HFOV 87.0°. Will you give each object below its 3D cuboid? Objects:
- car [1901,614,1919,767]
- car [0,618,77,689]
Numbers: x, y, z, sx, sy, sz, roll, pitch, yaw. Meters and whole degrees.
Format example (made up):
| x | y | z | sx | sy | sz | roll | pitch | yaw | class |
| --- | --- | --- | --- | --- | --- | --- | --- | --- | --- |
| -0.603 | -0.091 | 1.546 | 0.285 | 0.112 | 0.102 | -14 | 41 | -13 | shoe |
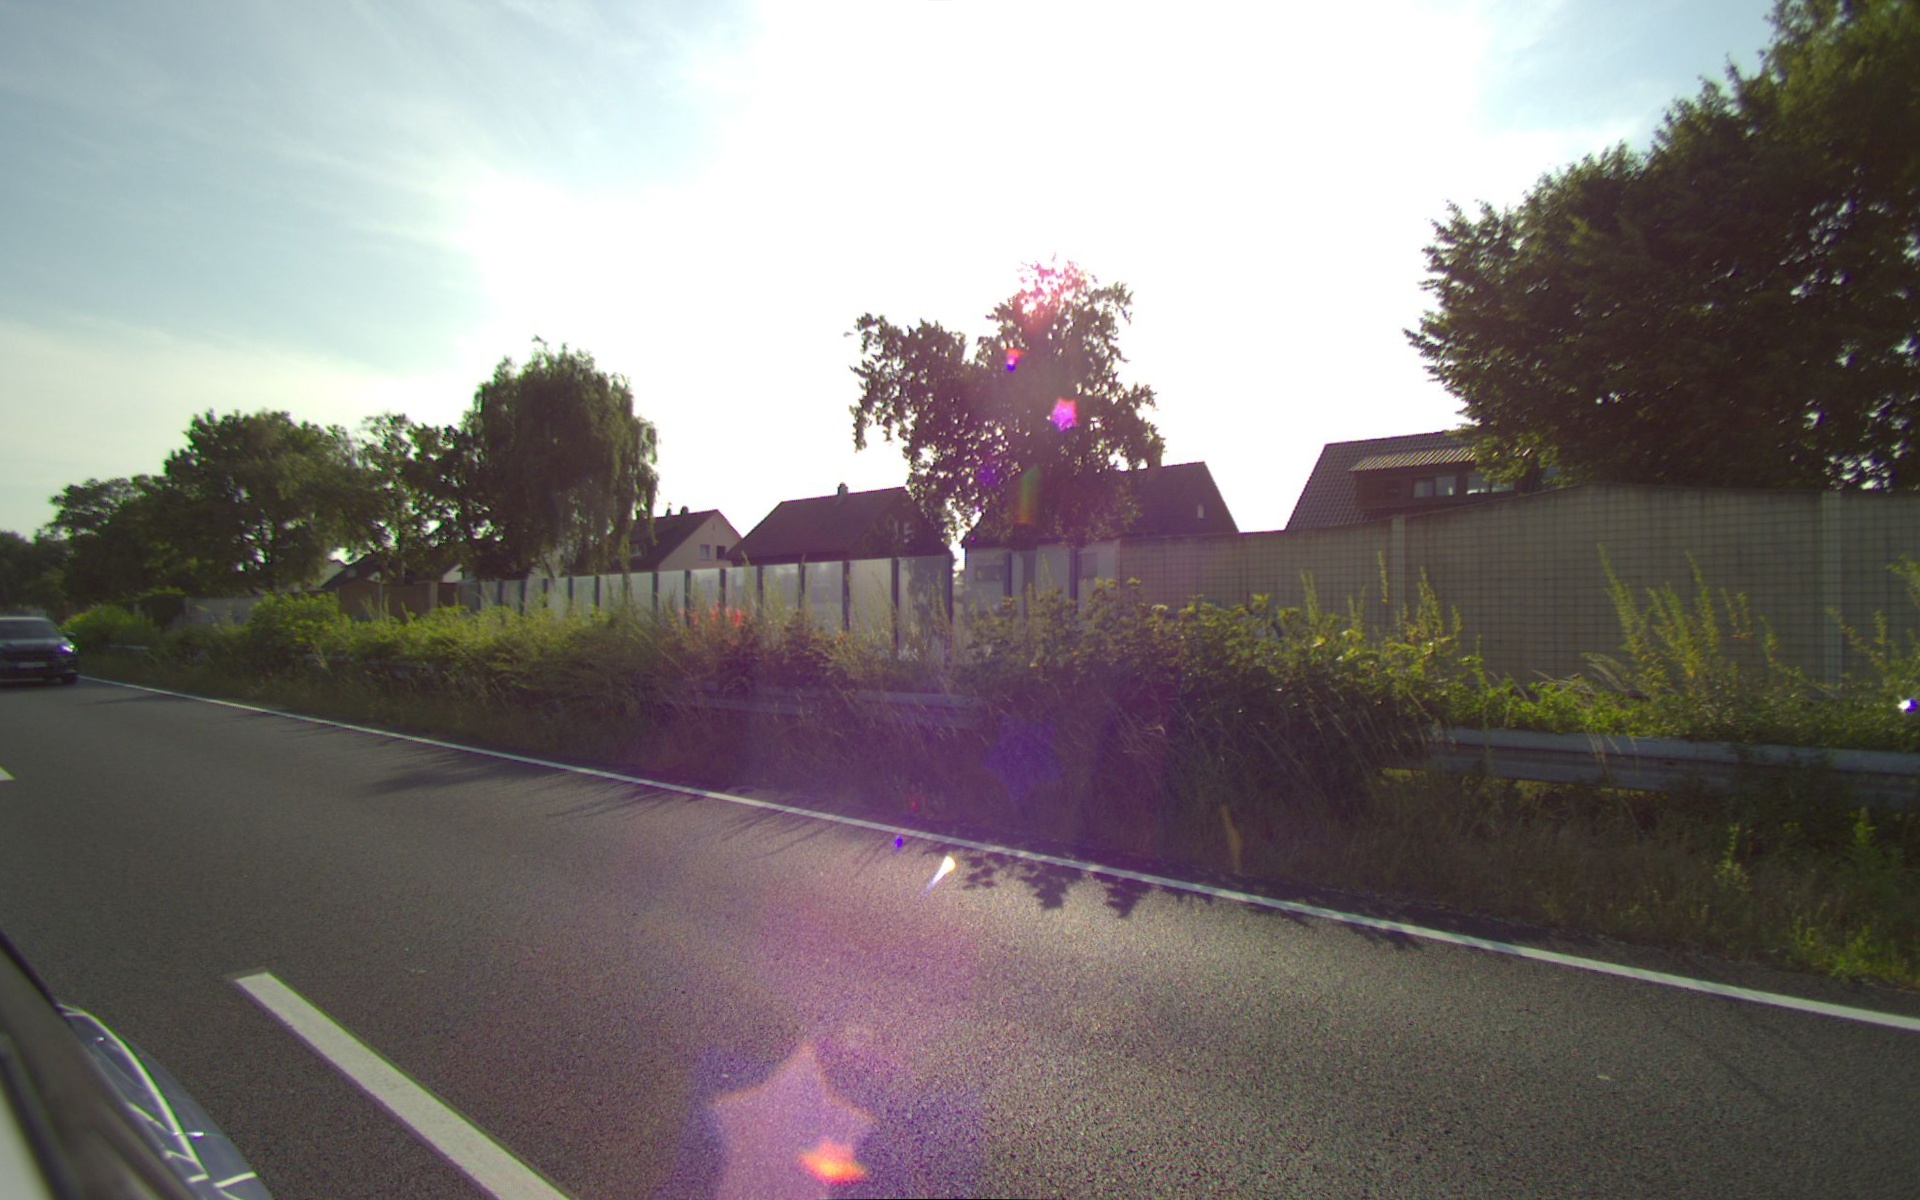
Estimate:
| x | y | z | sx | sy | sz | roll | pitch | yaw | class |
| --- | --- | --- | --- | --- | --- | --- | --- | --- | --- |
| 11.085 | 0.836 | 8.704 | 4.287 | 1.371 | 1.631 | -1 | 1 | 41 | car |
| -22.525 | 1.208 | 24.026 | 4.244 | 1.536 | 1.798 | -1 | 0 | 41 | car |
